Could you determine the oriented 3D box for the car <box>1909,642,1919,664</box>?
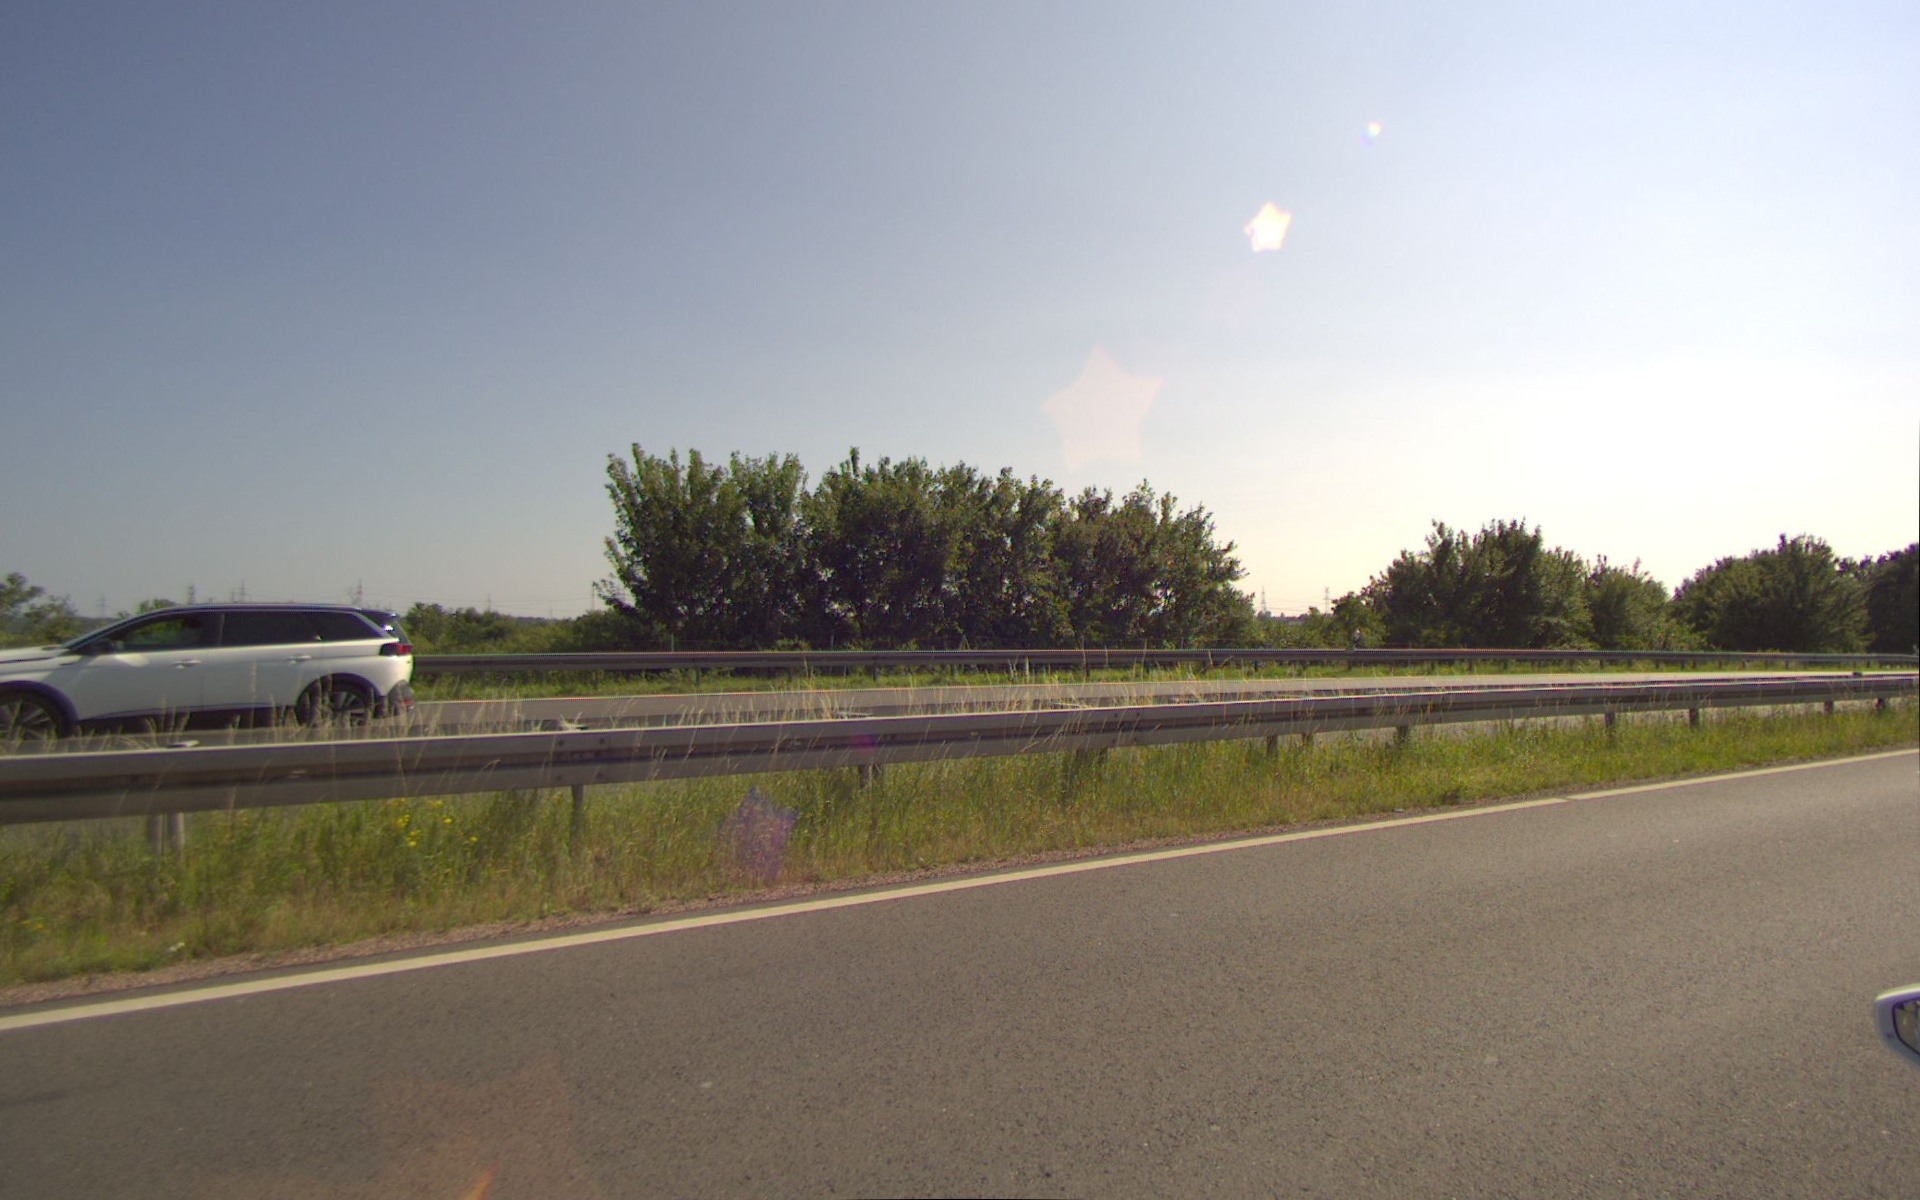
[{"bbox_3d":[66.372,3.596,68.521,1.761,1.465,3.988,-1,-2,35],"label":"car"}]

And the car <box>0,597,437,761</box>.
[{"bbox_3d":[-8.919,0.835,11.983,4.582,1.642,1.889,1,0,-34],"label":"car"}]
